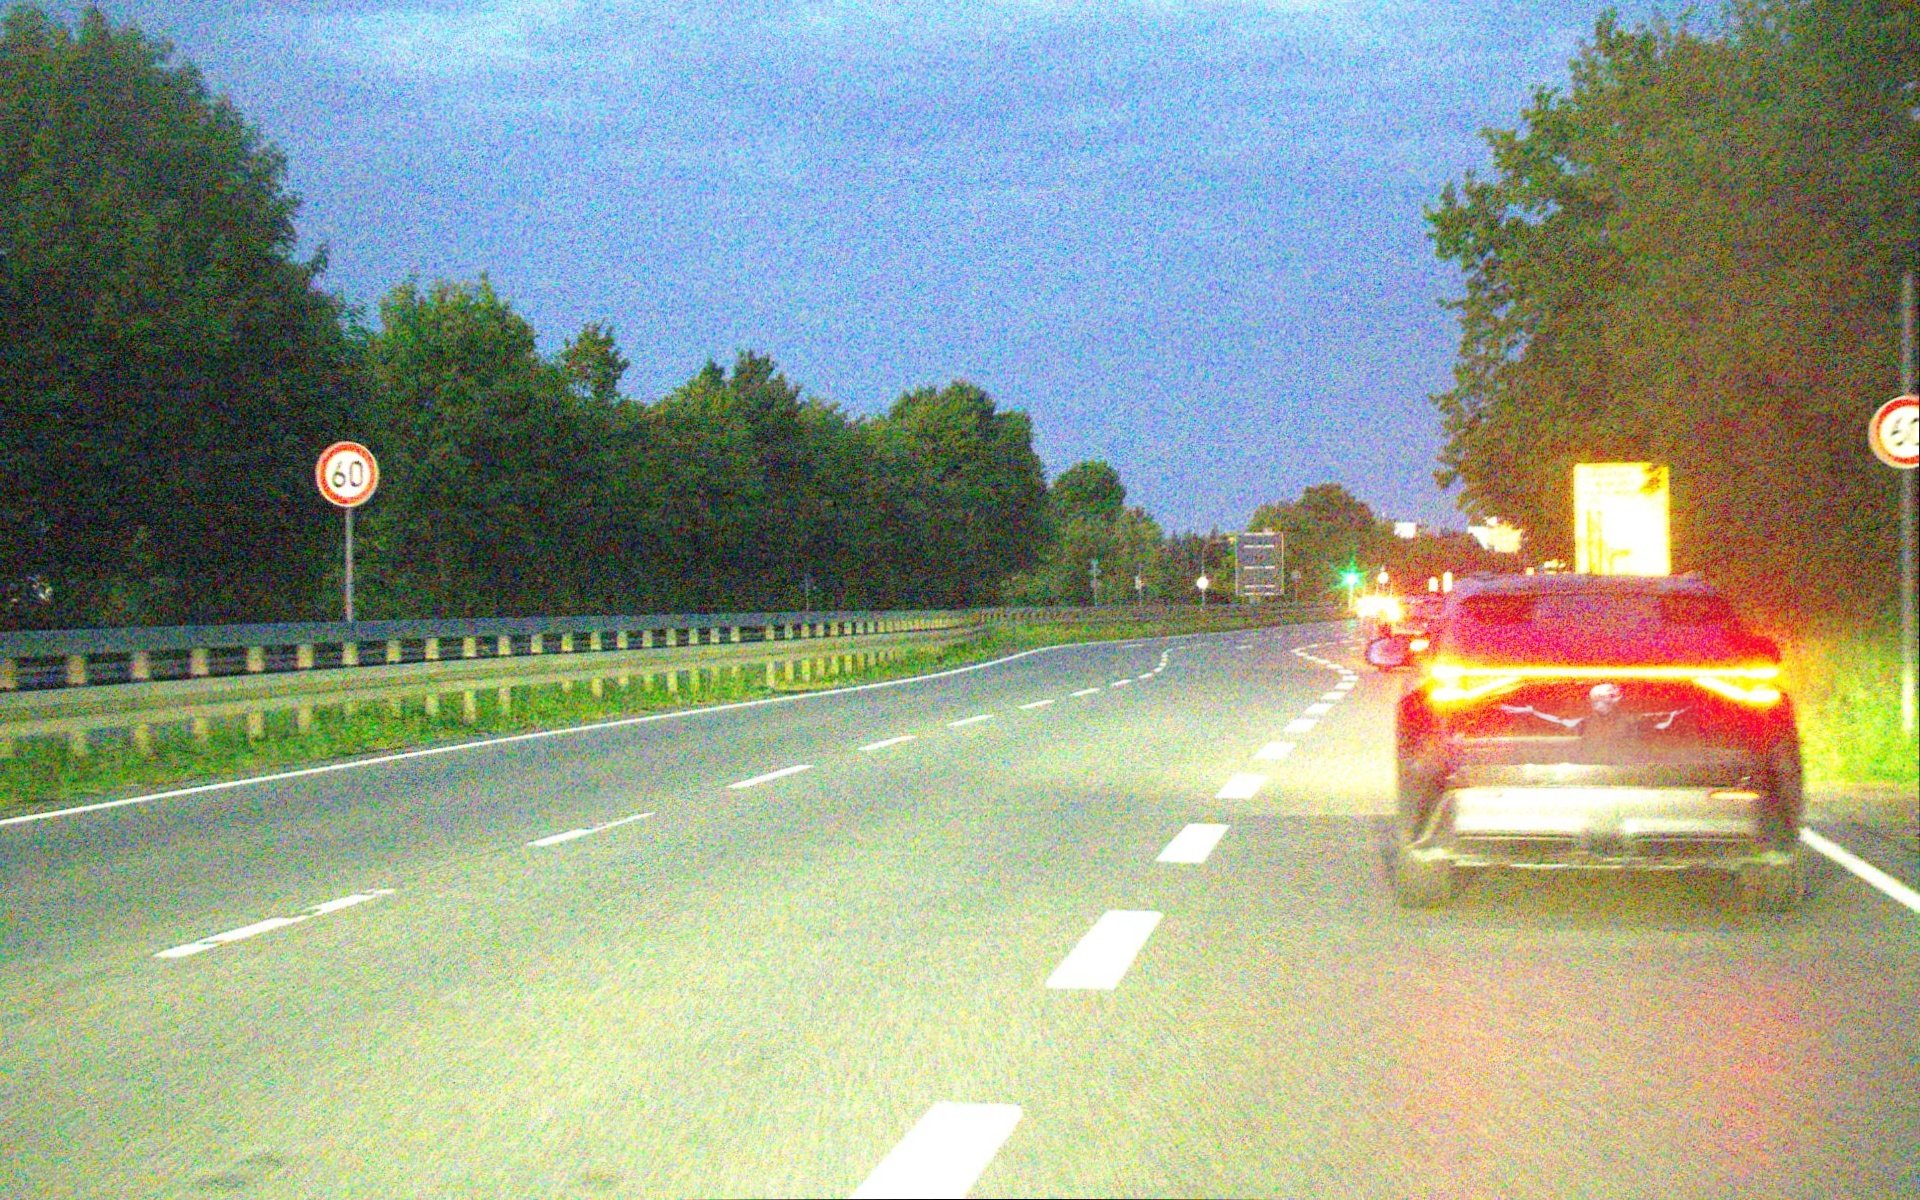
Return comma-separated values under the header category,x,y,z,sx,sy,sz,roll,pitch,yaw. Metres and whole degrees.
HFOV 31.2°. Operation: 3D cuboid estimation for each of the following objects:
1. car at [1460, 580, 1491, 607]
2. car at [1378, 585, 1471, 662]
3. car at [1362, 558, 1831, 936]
category,x,y,z,sx,sy,sz,roll,pitch,yaw
car,37.235,-0.432,248.183,1.994,1.744,3.998,-4,-2,10
car,9.189,0.448,67.850,1.753,1.448,4.431,-1,0,8
car,3.034,0.627,17.246,1.901,1.614,4.555,1,0,5
